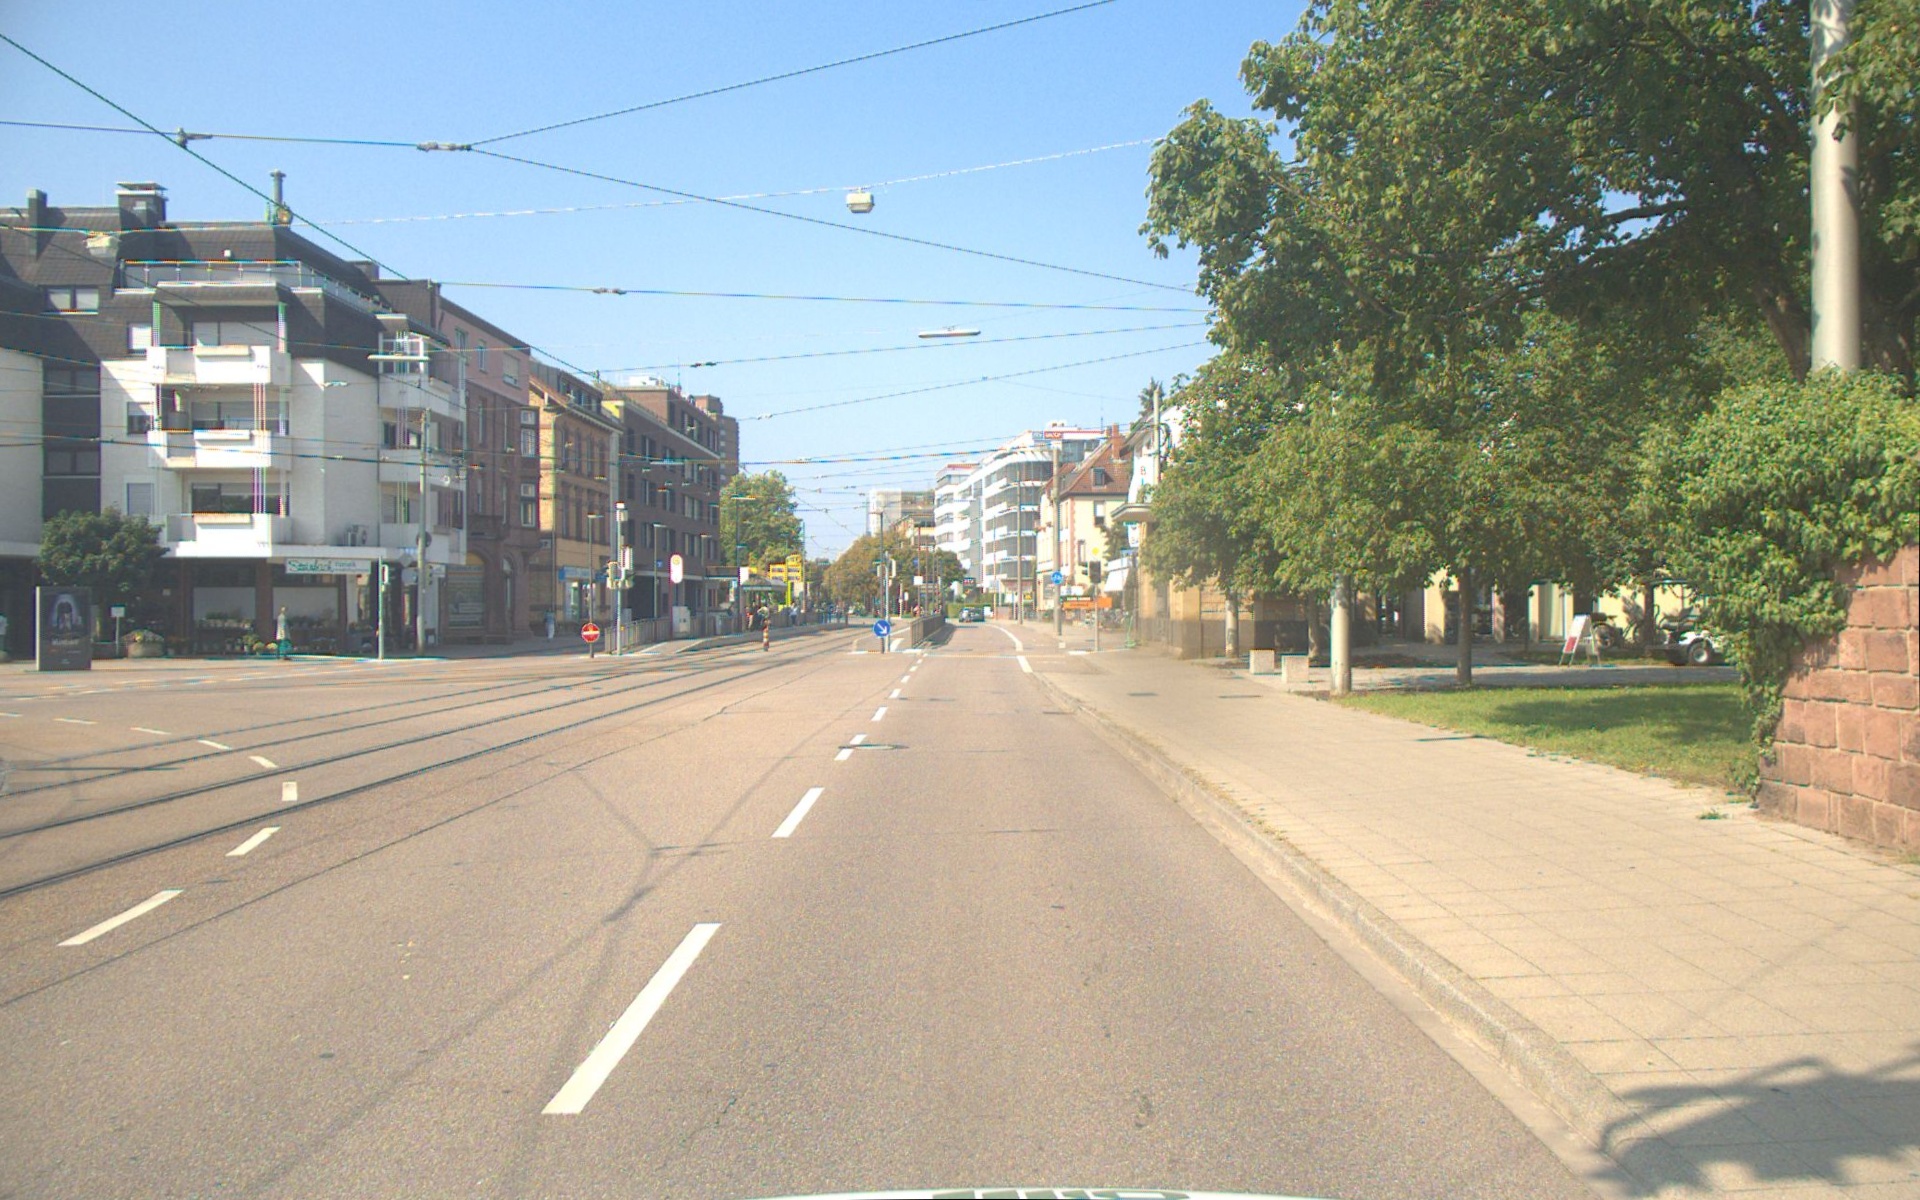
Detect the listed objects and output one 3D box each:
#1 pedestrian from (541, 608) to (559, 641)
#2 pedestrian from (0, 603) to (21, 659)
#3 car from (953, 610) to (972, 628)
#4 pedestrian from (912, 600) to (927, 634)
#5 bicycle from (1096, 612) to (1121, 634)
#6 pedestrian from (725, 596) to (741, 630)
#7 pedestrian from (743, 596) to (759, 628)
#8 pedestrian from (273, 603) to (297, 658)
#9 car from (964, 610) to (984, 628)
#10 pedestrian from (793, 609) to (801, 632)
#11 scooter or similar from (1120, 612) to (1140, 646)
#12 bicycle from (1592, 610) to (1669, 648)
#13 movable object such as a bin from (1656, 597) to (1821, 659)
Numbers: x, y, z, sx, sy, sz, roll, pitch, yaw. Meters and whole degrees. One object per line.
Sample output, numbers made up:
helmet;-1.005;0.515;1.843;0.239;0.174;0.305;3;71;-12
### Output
pedestrian;-19.719;1.176;79.577;0.472;1.587;0.888;0;-2;11
pedestrian;-30.525;1.005;52.768;0.665;1.771;0.698;-2;-1;2
car;0.307;2.120;184.688;1.970;1.891;4.001;-2;-1;2
pedestrian;-2.172;0.905;88.354;0.705;1.733;0.884;-2;-1;1
bicycle;7.954;1.235;88.675;0.717;1.152;2.835;-4;0;-7
pedestrian;-11.953;0.682;87.108;0.693;1.753;0.799;-2;-1;1
pedestrian;-11.880;0.676;94.008;0.693;1.777;0.799;-2;-1;1
pedestrian;-22.208;1.006;54.431;0.592;1.776;0.559;-2;-1;-33
car;1.496;2.045;178.414;1.970;1.891;4.001;-2;-1;2
pedestrian;-10.953;1.378;111.120;0.522;1.557;0.701;-2;-1;-6
scooter or similar;5.851;0.987;57.052;0.512;1.153;1.511;-2;-1;1
bicycle;17.616;0.759;43.470;1.865;0.997;0.427;0;-1;0
movable object such as a bin;17.279;0.617;36.791;3.041;1.321;1.301;-1;0;3
